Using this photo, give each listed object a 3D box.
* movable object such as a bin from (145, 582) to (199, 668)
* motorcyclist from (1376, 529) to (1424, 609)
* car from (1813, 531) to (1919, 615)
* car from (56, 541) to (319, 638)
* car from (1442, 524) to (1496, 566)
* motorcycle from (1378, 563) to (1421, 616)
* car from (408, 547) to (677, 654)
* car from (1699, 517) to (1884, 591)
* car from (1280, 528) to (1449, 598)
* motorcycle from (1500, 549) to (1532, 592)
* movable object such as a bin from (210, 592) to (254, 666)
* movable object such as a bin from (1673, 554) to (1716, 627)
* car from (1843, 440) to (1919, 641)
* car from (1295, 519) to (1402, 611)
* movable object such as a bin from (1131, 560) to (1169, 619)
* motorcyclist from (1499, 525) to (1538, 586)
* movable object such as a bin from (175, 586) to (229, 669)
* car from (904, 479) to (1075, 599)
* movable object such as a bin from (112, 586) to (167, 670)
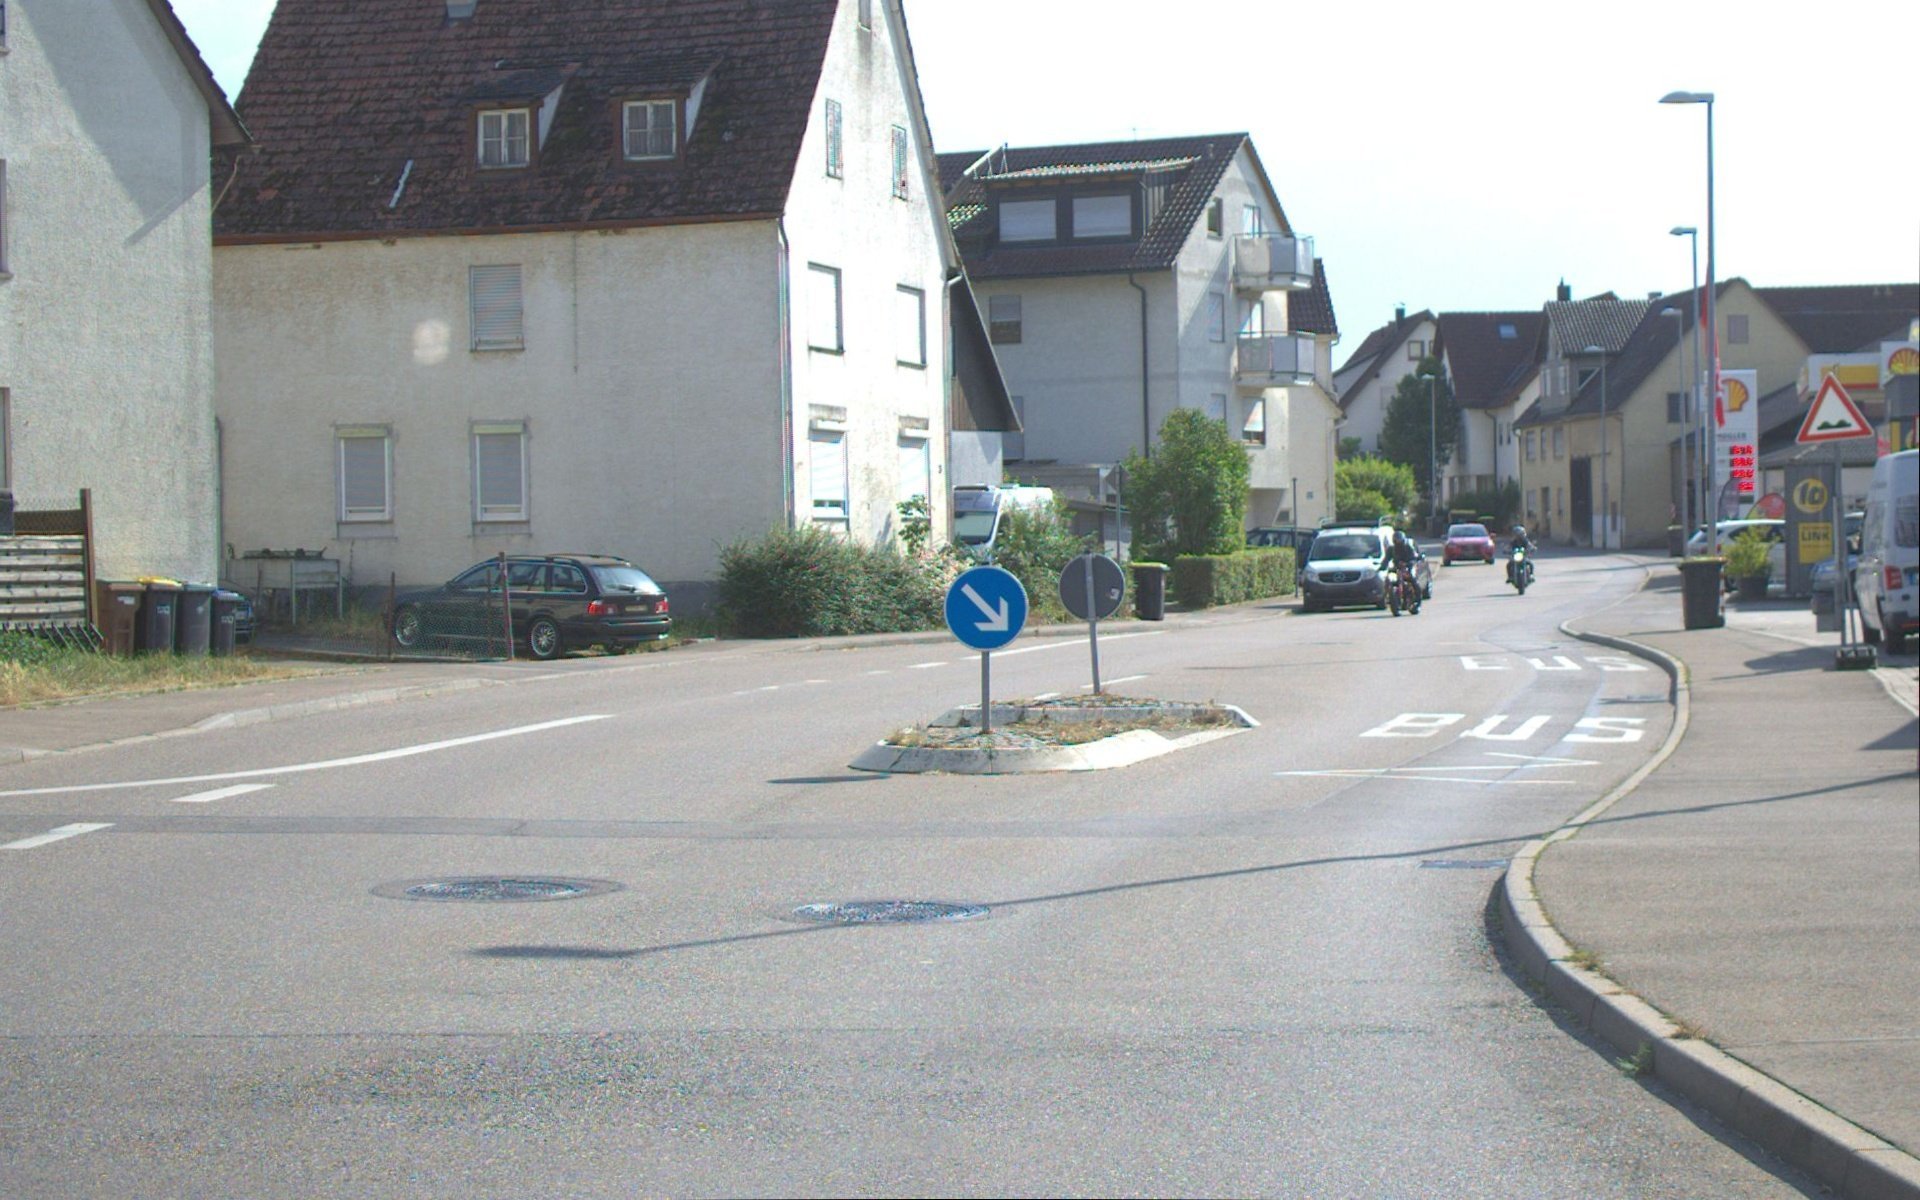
[{"bbox_3d":[-9.631,0.307,42.028,0.361,1.037,0.557,0,0,30],"label":"movable object such as a bin"},{"bbox_3d":[8.628,-0.611,67.465,0.737,1.521,1.016,2,1,16],"label":"motorcyclist"},{"bbox_3d":[18.318,-0.538,65.402,3.989,1.526,1.527,-1,1,13],"label":"car"},{"bbox_3d":[-11.794,-0.191,52.422,3.995,1.356,1.683,2,2,36],"label":"car"},{"bbox_3d":[18.233,-1.976,123.297,1.709,1.430,3.779,-2,1,6],"label":"car"},{"bbox_3d":[8.641,-0.217,67.545,0.538,1.009,2.026,2,1,16],"label":"motorcycle"},{"bbox_3d":[-6.143,-0.020,50.357,3.997,1.428,1.649,2,2,41],"label":"car"},{"bbox_3d":[18.754,-1.046,77.654,3.989,1.602,1.999,0,1,13],"label":"car"},{"bbox_3d":[10.652,-0.988,90.587,3.992,1.533,1.760,4,3,24],"label":"car"},{"bbox_3d":[13.245,-0.708,81.866,0.525,1.009,2.026,1,1,15],"label":"motorcycle"},{"bbox_3d":[-9.116,0.367,43.056,0.361,0.922,0.399,0,0,30],"label":"movable object such as a bin"},{"bbox_3d":[11.030,-0.148,51.636,0.567,1.071,0.572,-2,1,9],"label":"movable object such as a bin"},{"bbox_3d":[12.257,-0.767,43.046,1.837,2.367,5.177,-1,1,9],"label":"car"},{"bbox_3d":[8.413,-0.784,74.240,1.717,1.866,4.189,-2,1,14],"label":"car"},{"bbox_3d":[3.555,-0.203,64.227,0.611,1.097,0.575,1,0,14],"label":"movable object such as a bin"},{"bbox_3d":[13.296,-1.066,81.839,0.803,1.431,1.036,1,1,15],"label":"motorcyclist"},{"bbox_3d":[-9.386,0.343,42.598,0.361,1.019,0.576,0,0,30],"label":"movable object such as a bin"},{"bbox_3d":[0.735,-1.415,77.776,2.160,2.587,6.089,0,2,18],"label":"car"},{"bbox_3d":[-9.918,0.336,41.553,0.361,1.012,0.557,0,0,30],"label":"movable object such as a bin"}]
